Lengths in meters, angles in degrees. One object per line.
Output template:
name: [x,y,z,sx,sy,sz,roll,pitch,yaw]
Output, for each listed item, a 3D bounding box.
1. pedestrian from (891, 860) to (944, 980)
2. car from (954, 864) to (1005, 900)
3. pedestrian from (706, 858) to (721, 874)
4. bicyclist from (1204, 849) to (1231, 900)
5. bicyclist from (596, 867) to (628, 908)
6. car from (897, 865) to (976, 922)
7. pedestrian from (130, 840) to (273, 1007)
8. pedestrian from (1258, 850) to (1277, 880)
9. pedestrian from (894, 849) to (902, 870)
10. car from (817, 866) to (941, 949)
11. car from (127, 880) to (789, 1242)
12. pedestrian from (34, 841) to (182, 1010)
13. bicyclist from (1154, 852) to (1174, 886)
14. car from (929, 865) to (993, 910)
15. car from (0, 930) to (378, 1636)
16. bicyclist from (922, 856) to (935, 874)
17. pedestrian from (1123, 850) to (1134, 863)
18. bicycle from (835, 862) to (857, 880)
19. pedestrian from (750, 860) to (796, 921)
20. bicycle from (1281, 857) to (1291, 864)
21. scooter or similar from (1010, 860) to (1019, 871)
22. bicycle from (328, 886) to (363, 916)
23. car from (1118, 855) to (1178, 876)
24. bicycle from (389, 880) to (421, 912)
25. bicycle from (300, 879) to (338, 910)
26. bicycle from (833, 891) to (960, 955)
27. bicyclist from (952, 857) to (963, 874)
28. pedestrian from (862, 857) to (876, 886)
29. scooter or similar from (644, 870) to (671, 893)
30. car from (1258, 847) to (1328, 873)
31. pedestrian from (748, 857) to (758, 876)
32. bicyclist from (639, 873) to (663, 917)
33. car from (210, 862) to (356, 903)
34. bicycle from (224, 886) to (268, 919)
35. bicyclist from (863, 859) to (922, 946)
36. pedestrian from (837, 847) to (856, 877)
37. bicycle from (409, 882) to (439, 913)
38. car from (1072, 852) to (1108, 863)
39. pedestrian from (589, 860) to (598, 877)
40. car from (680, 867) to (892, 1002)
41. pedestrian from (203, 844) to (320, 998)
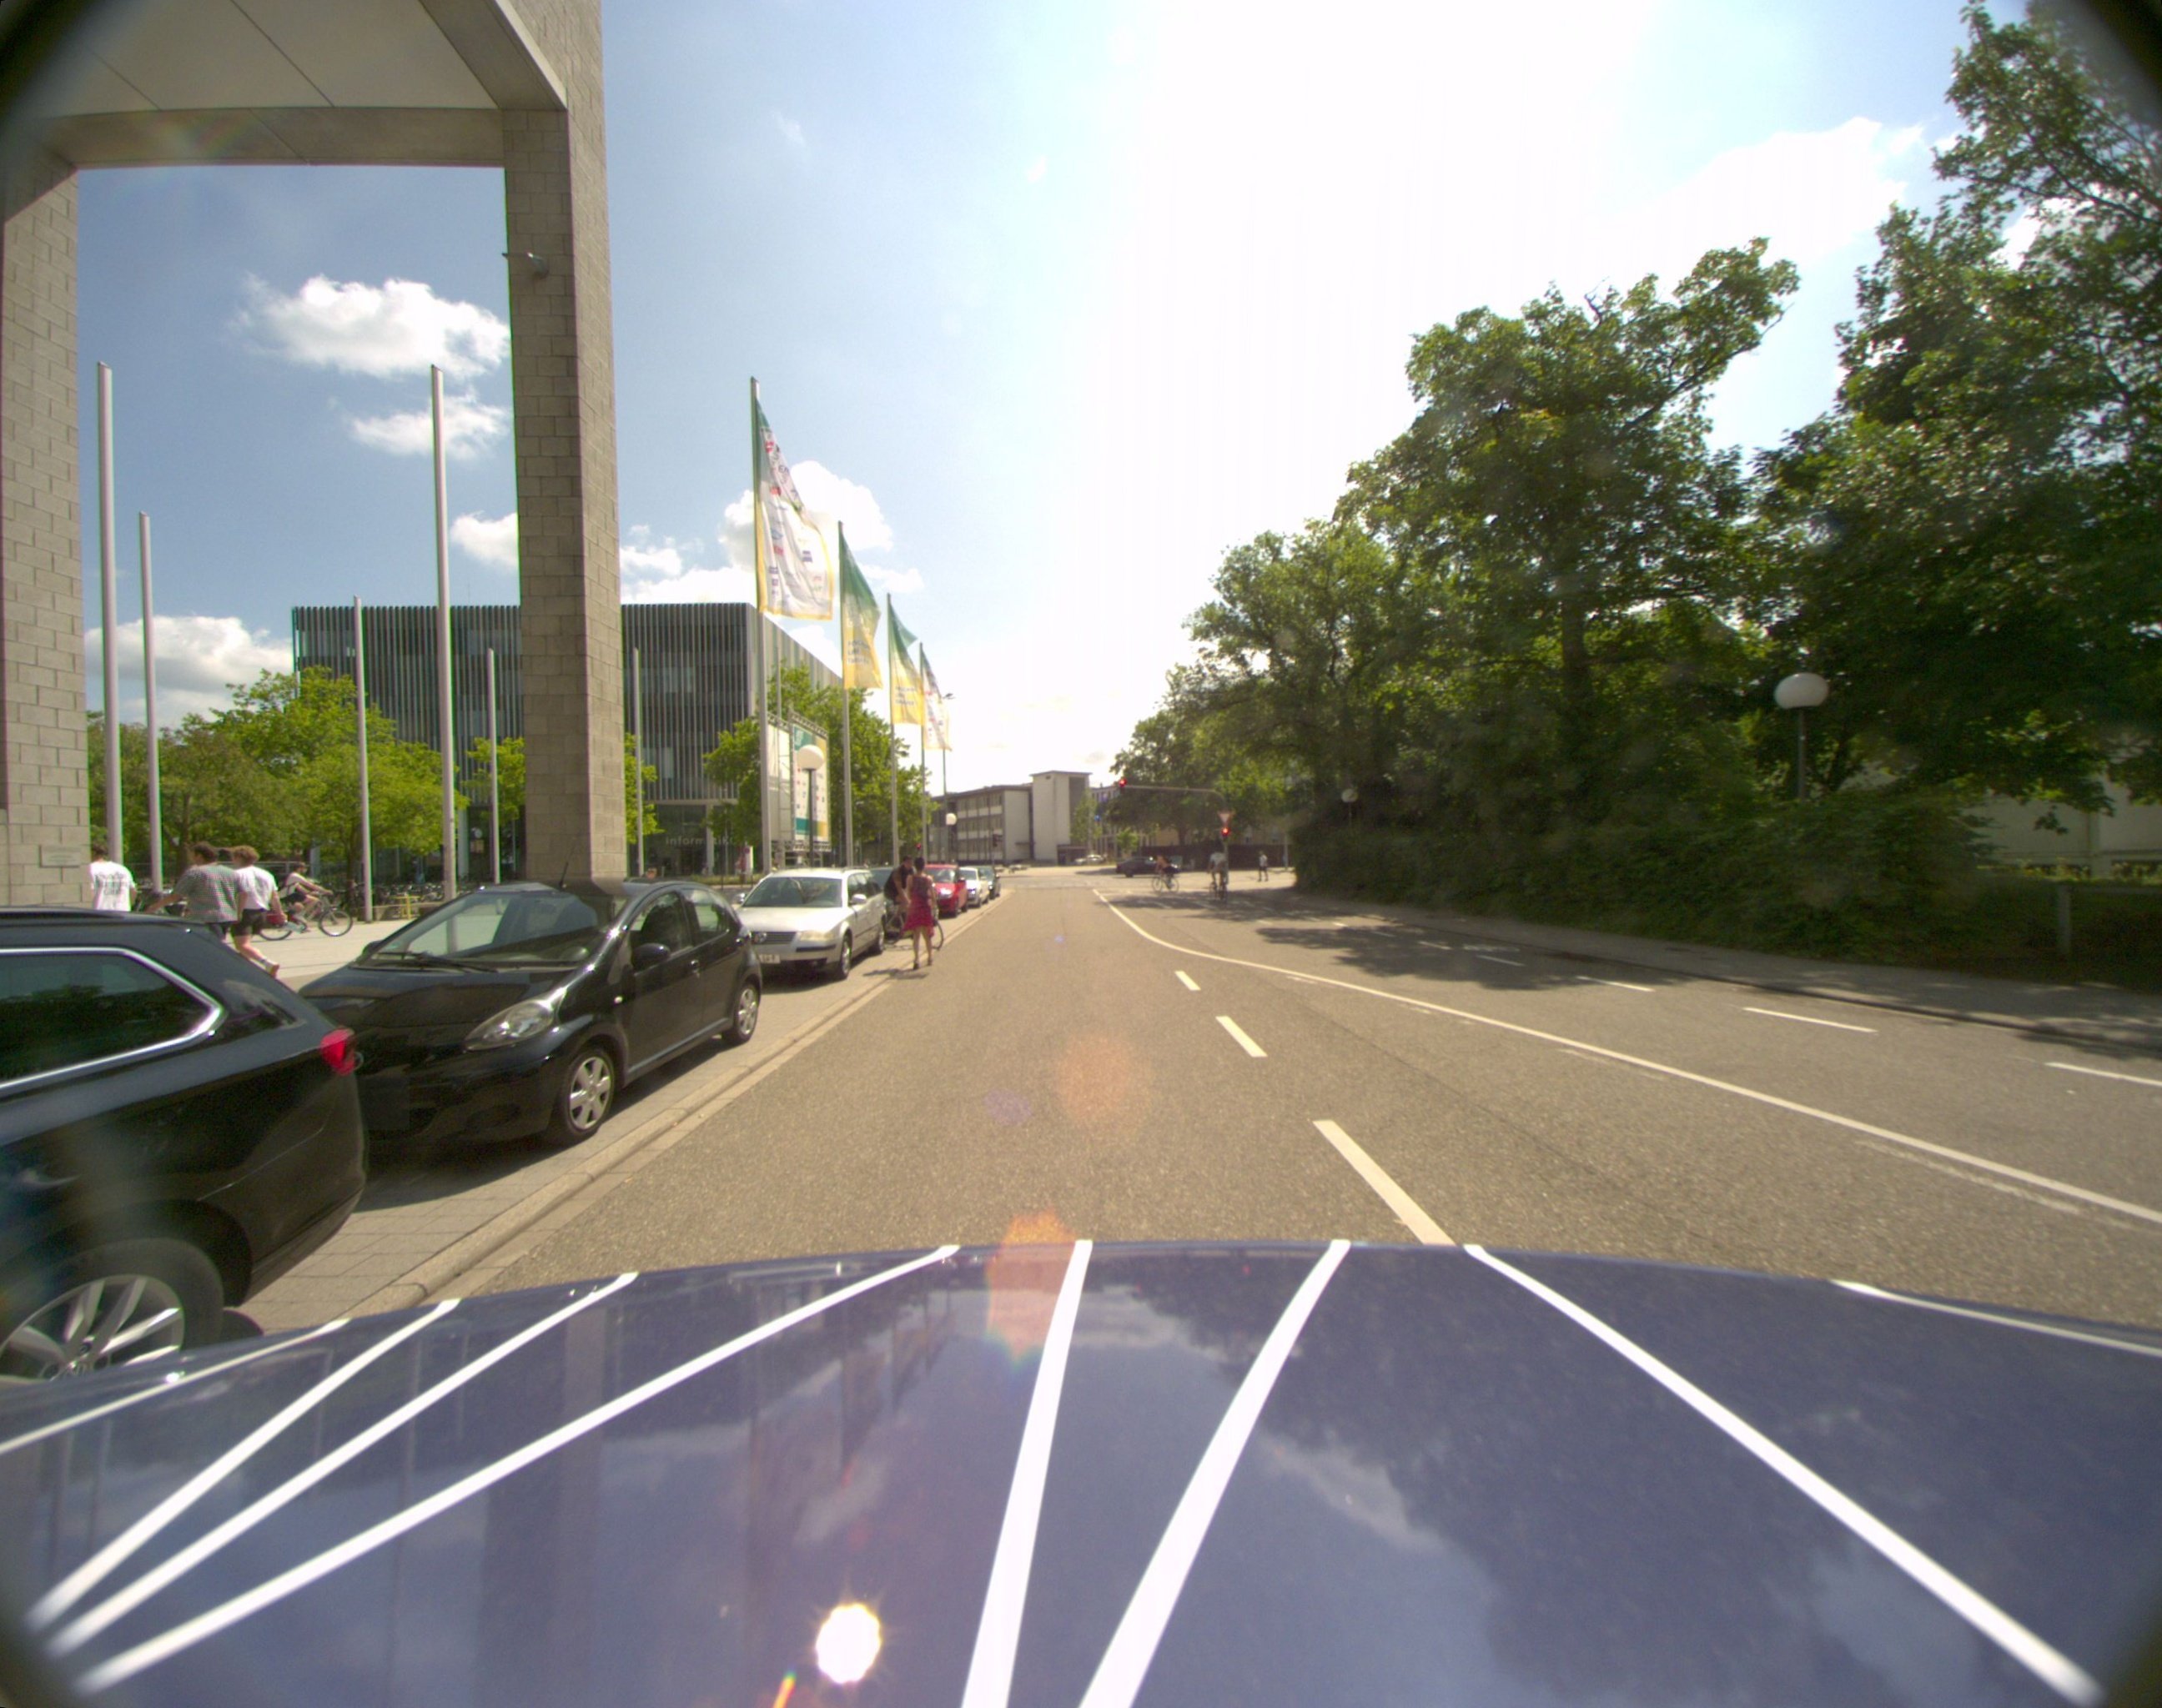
pedestrian: [-2.450,0.955,11.483,0.624,1.707,1.040,-1,1,-5]
car: [-4.373,1.170,33.394,1.723,1.392,4.947,1,0,-2]
pedestrian: [-39.683,1.267,82.074,1.014,1.641,1.182,-1,1,-1]
bicyclist: [4.694,0.691,26.155,0.694,1.726,0.918,-1,1,-3]
bicyclist: [-18.155,1.291,29.402,0.682,1.559,0.879,-1,-1,-2]
car: [-4.220,1.094,22.747,1.618,1.488,4.146,1,0,-1]
pedestrian: [-10.549,0.798,9.149,0.784,1.914,0.734,-1,1,-3]
pedestrian: [10.887,0.647,44.377,0.930,1.690,0.854,-1,-1,1]
pedestrian: [-16.334,0.476,67.940,0.633,1.831,0.479,-2,2,-16]
car: [-4.314,1.084,16.864,1.723,1.520,3.999,-1,0,-1]
car: [-3.636,1.019,5.525,1.619,1.488,4.005,-2,0,-3]
pedestrian: [-11.636,0.821,9.117,0.726,1.914,0.750,-1,1,-7]
bicyclist: [3.792,0.672,34.876,0.695,1.539,1.018,-1,1,-5]
car: [-4.247,1.137,27.484,1.723,1.392,4.437,1,0,-2]
car: [-3.276,1.011,0.289,1.871,1.456,4.519,-1,0,-2]
bicyclist: [-13.794,0.977,68.815,1.001,1.606,0.655,-2,1,-30]
pedestrian: [6.340,0.359,100.988,1.297,1.641,1.327,-1,1,11]
bicycle: [-14.574,1.062,47.165,0.817,1.066,1.891,0,-3,-3]
pedestrian: [-9.065,1.048,22.429,0.920,1.730,1.001,-1,1,-2]
bicycle: [20.174,0.620,74.653,0.409,0.678,1.005,-2,2,-27]
scooter or similar: [-6.465,1.076,73.969,0.403,1.060,1.148,-2,1,-29]
bicycle: [-29.132,1.842,30.122,0.605,1.092,1.763,-3,1,-32]
car: [4.829,0.820,54.602,4.186,1.408,1.831,-1,1,6]
bicycle: [-26.840,1.646,30.196,0.605,1.093,1.763,-3,3,-32]
bicycle: [-29.459,1.561,29.398,0.605,1.092,1.763,-2,1,-32]
bicycle: [-3.398,1.264,14.190,2.153,1.072,0.903,-1,0,-3]
bicyclist: [-11.400,1.022,70.033,0.787,1.529,0.656,-2,1,-26]
pedestrian: [-13.203,1.079,47.319,0.594,1.789,0.612,-2,-1,24]
scooter or similar: [-23.027,1.491,41.293,1.192,1.159,0.353,-1,3,-1]
car: [14.995,0.422,53.841,4.473,1.669,1.825,-1,1,4]
pedestrian: [-33.558,1.279,77.660,0.789,1.831,0.516,-3,1,-16]
bicyclist: [-13.503,1.274,23.847,0.609,1.312,0.741,-1,-1,-32]
car: [-39.475,1.387,37.683,4.940,1.854,1.902,-1,1,-4]
bicycle: [-30.744,1.773,28.010,0.605,1.092,1.763,-3,1,-32]
bicyclist: [-3.496,0.887,14.151,0.933,1.555,0.663,-1,0,-4]
pedestrian: [-14.548,0.491,47.154,0.856,1.808,1.176,1,-3,-3]
bicycle: [-25.910,1.693,29.993,0.605,1.093,1.763,-3,3,-32]
car: [1.181,0.466,101.881,4.501,1.299,1.994,-2,3,-33]
pedestrian: [-51.101,1.509,79.569,0.554,1.831,0.561,-1,2,-9]
car: [-4.070,0.994,11.330,1.724,1.520,4.564,0,0,-5]
pedestrian: [-10.612,0.842,9.865,0.785,1.914,0.593,-1,1,-4]
